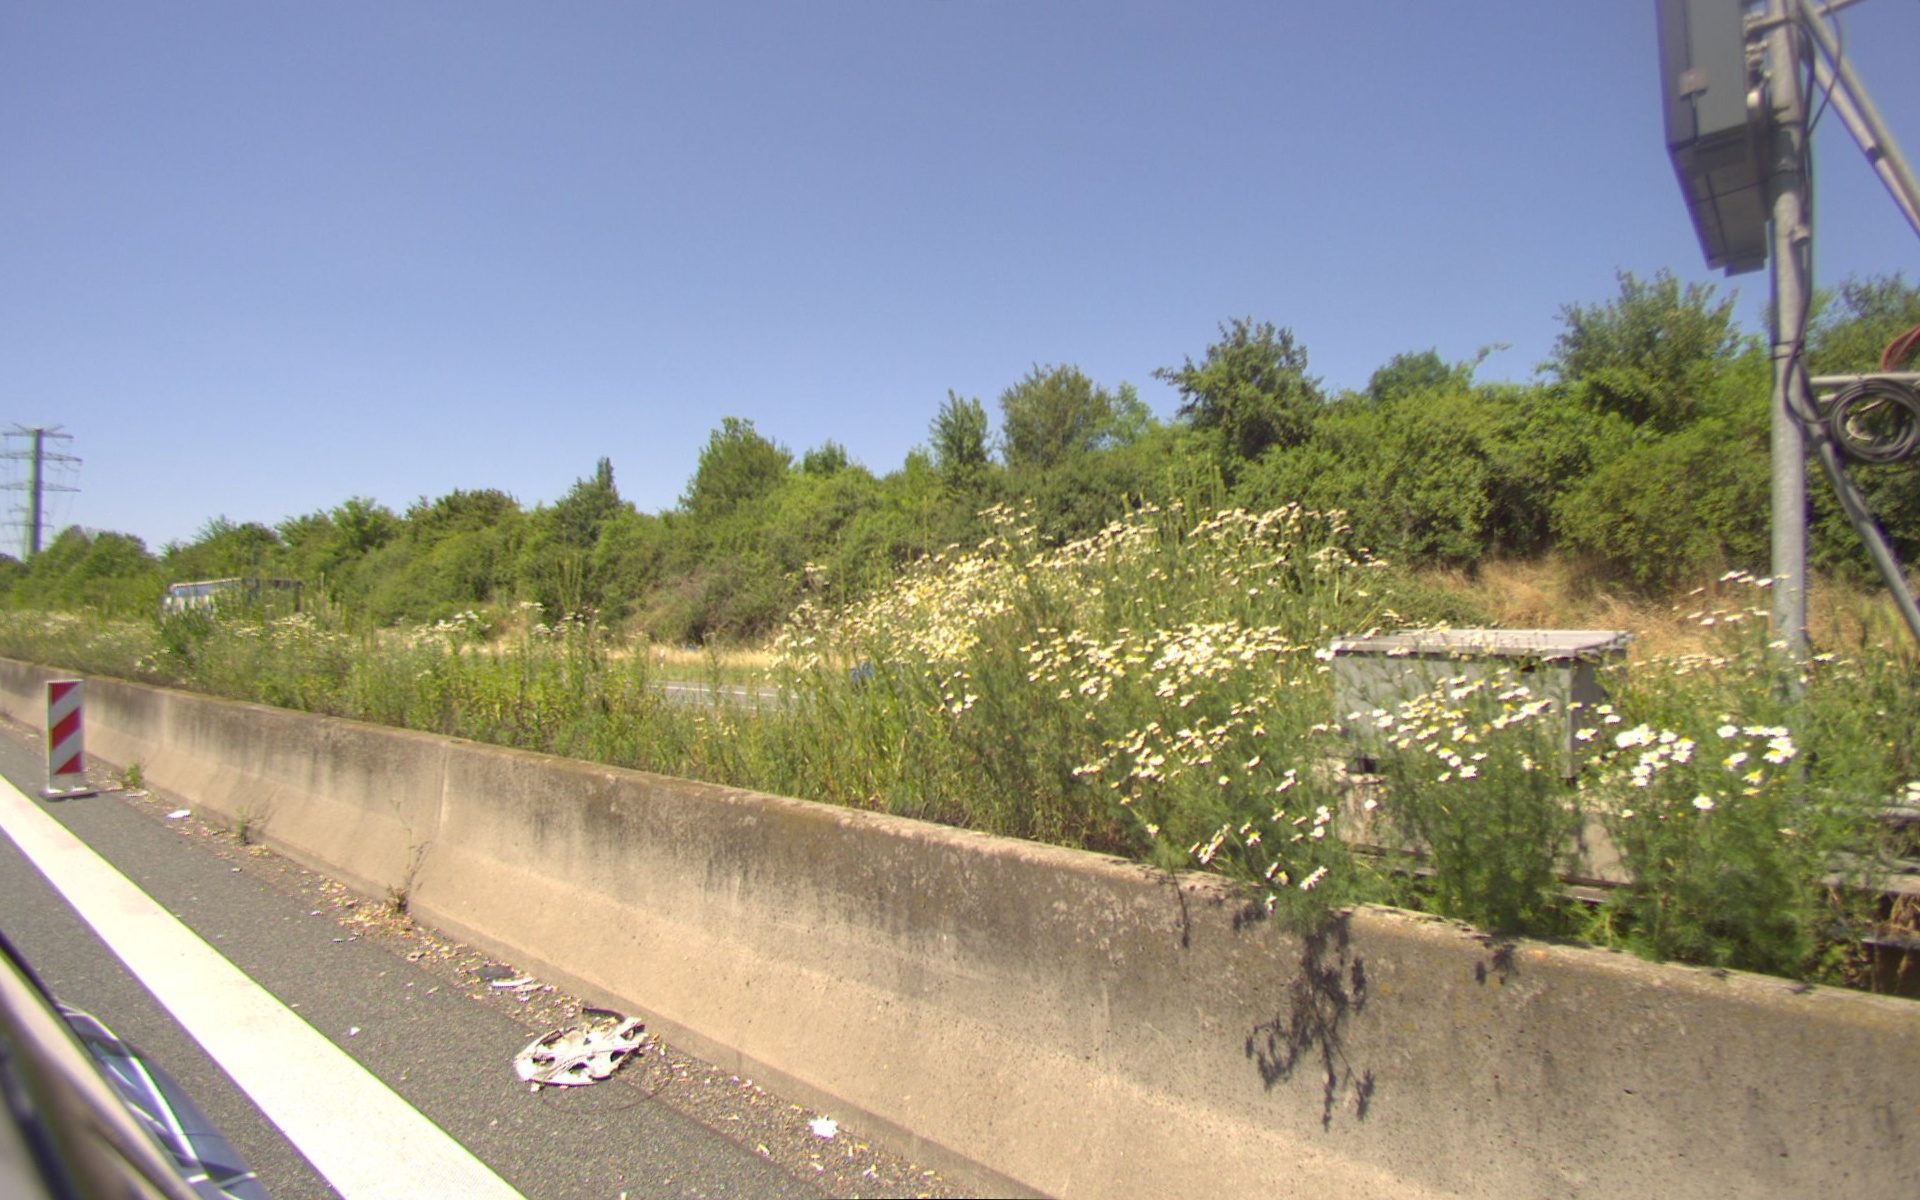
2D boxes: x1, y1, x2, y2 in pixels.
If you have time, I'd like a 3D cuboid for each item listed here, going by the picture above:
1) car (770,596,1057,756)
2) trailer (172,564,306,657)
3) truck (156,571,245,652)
[{"bbox_3d":[-0.774,0.995,15.027,3.998,2.029,1.973,-1,0,41],"label":"car"},{"bbox_3d":[-38.360,0.550,53.553,12.900,4.437,2.929,-1,0,41],"label":"trailer"},{"bbox_3d":[-43.911,0.630,58.462,6.072,4.425,2.914,-1,0,41],"label":"truck"}]
